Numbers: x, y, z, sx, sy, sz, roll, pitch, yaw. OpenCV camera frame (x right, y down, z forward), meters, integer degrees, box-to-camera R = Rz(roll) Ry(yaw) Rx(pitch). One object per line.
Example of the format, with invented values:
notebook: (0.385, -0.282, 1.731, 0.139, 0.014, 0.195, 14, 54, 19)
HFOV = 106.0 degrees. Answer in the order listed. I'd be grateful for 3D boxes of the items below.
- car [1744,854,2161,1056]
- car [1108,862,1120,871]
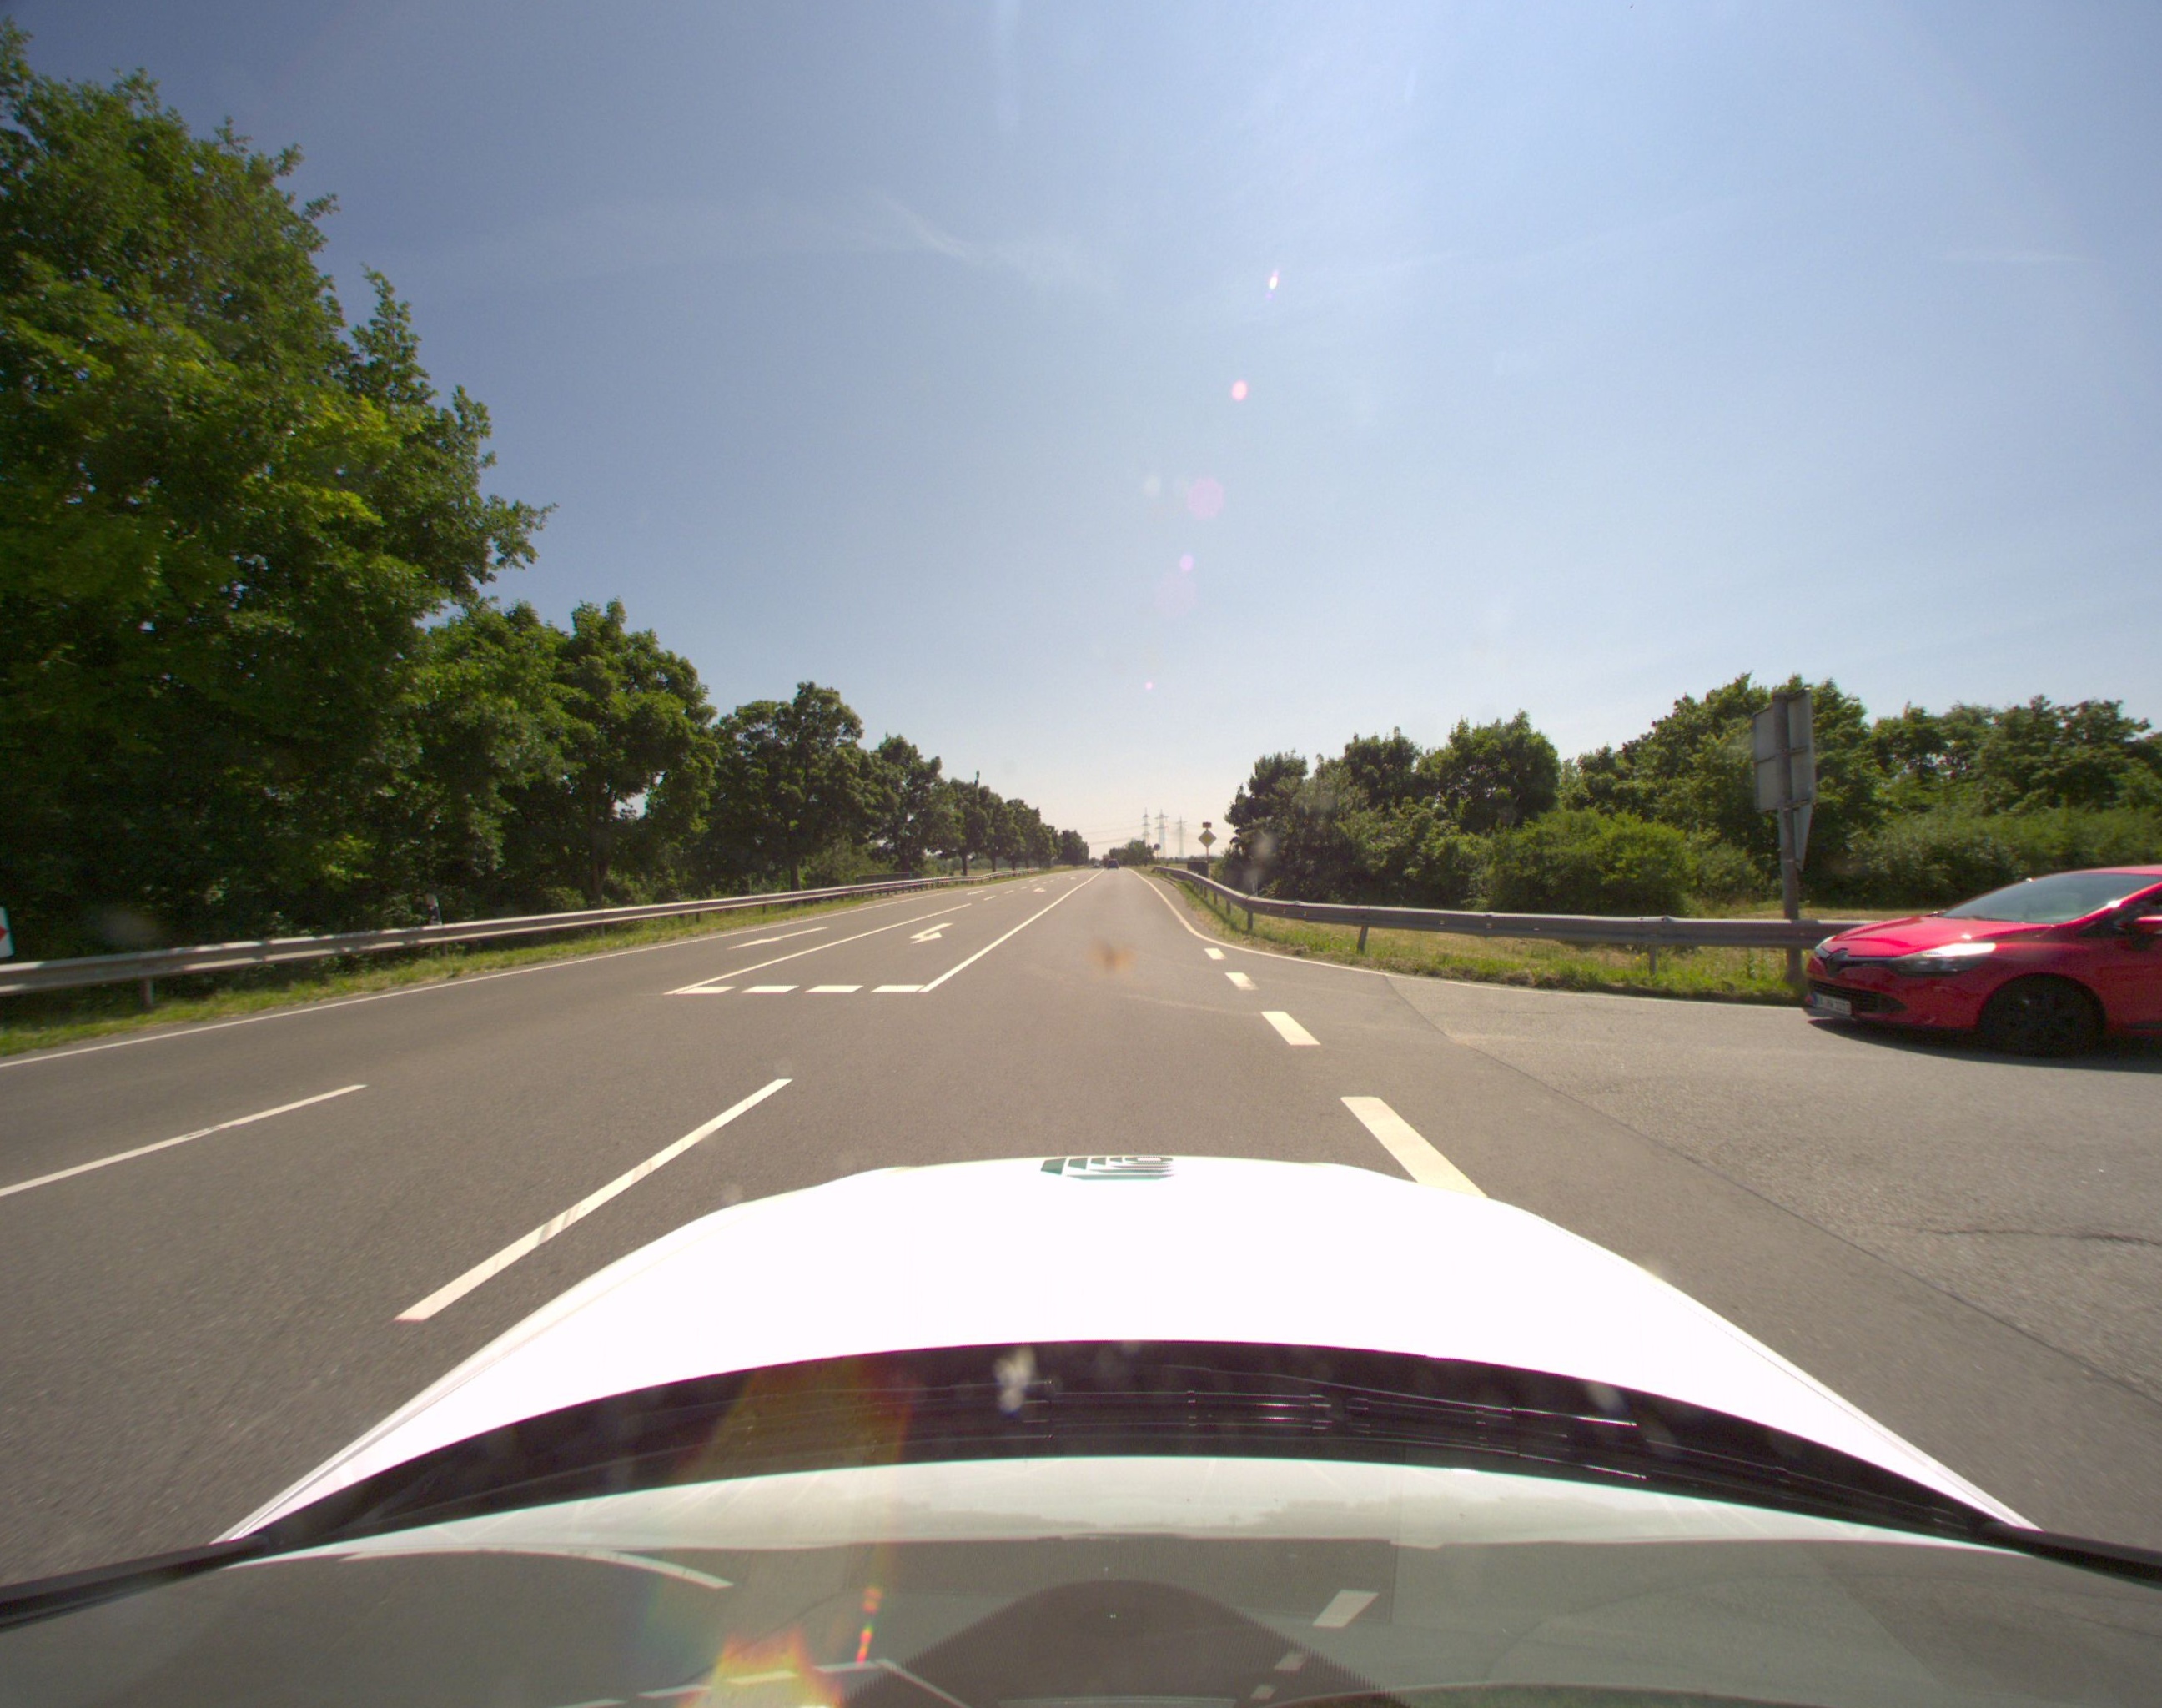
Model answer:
car: (8.198, 0.720, 6.501, 4.121, 1.418, 1.787, -1, -1, 15)
car: (5.475, 2.058, 137.106, 1.878, 1.518, 4.040, 1, -1, 1)
